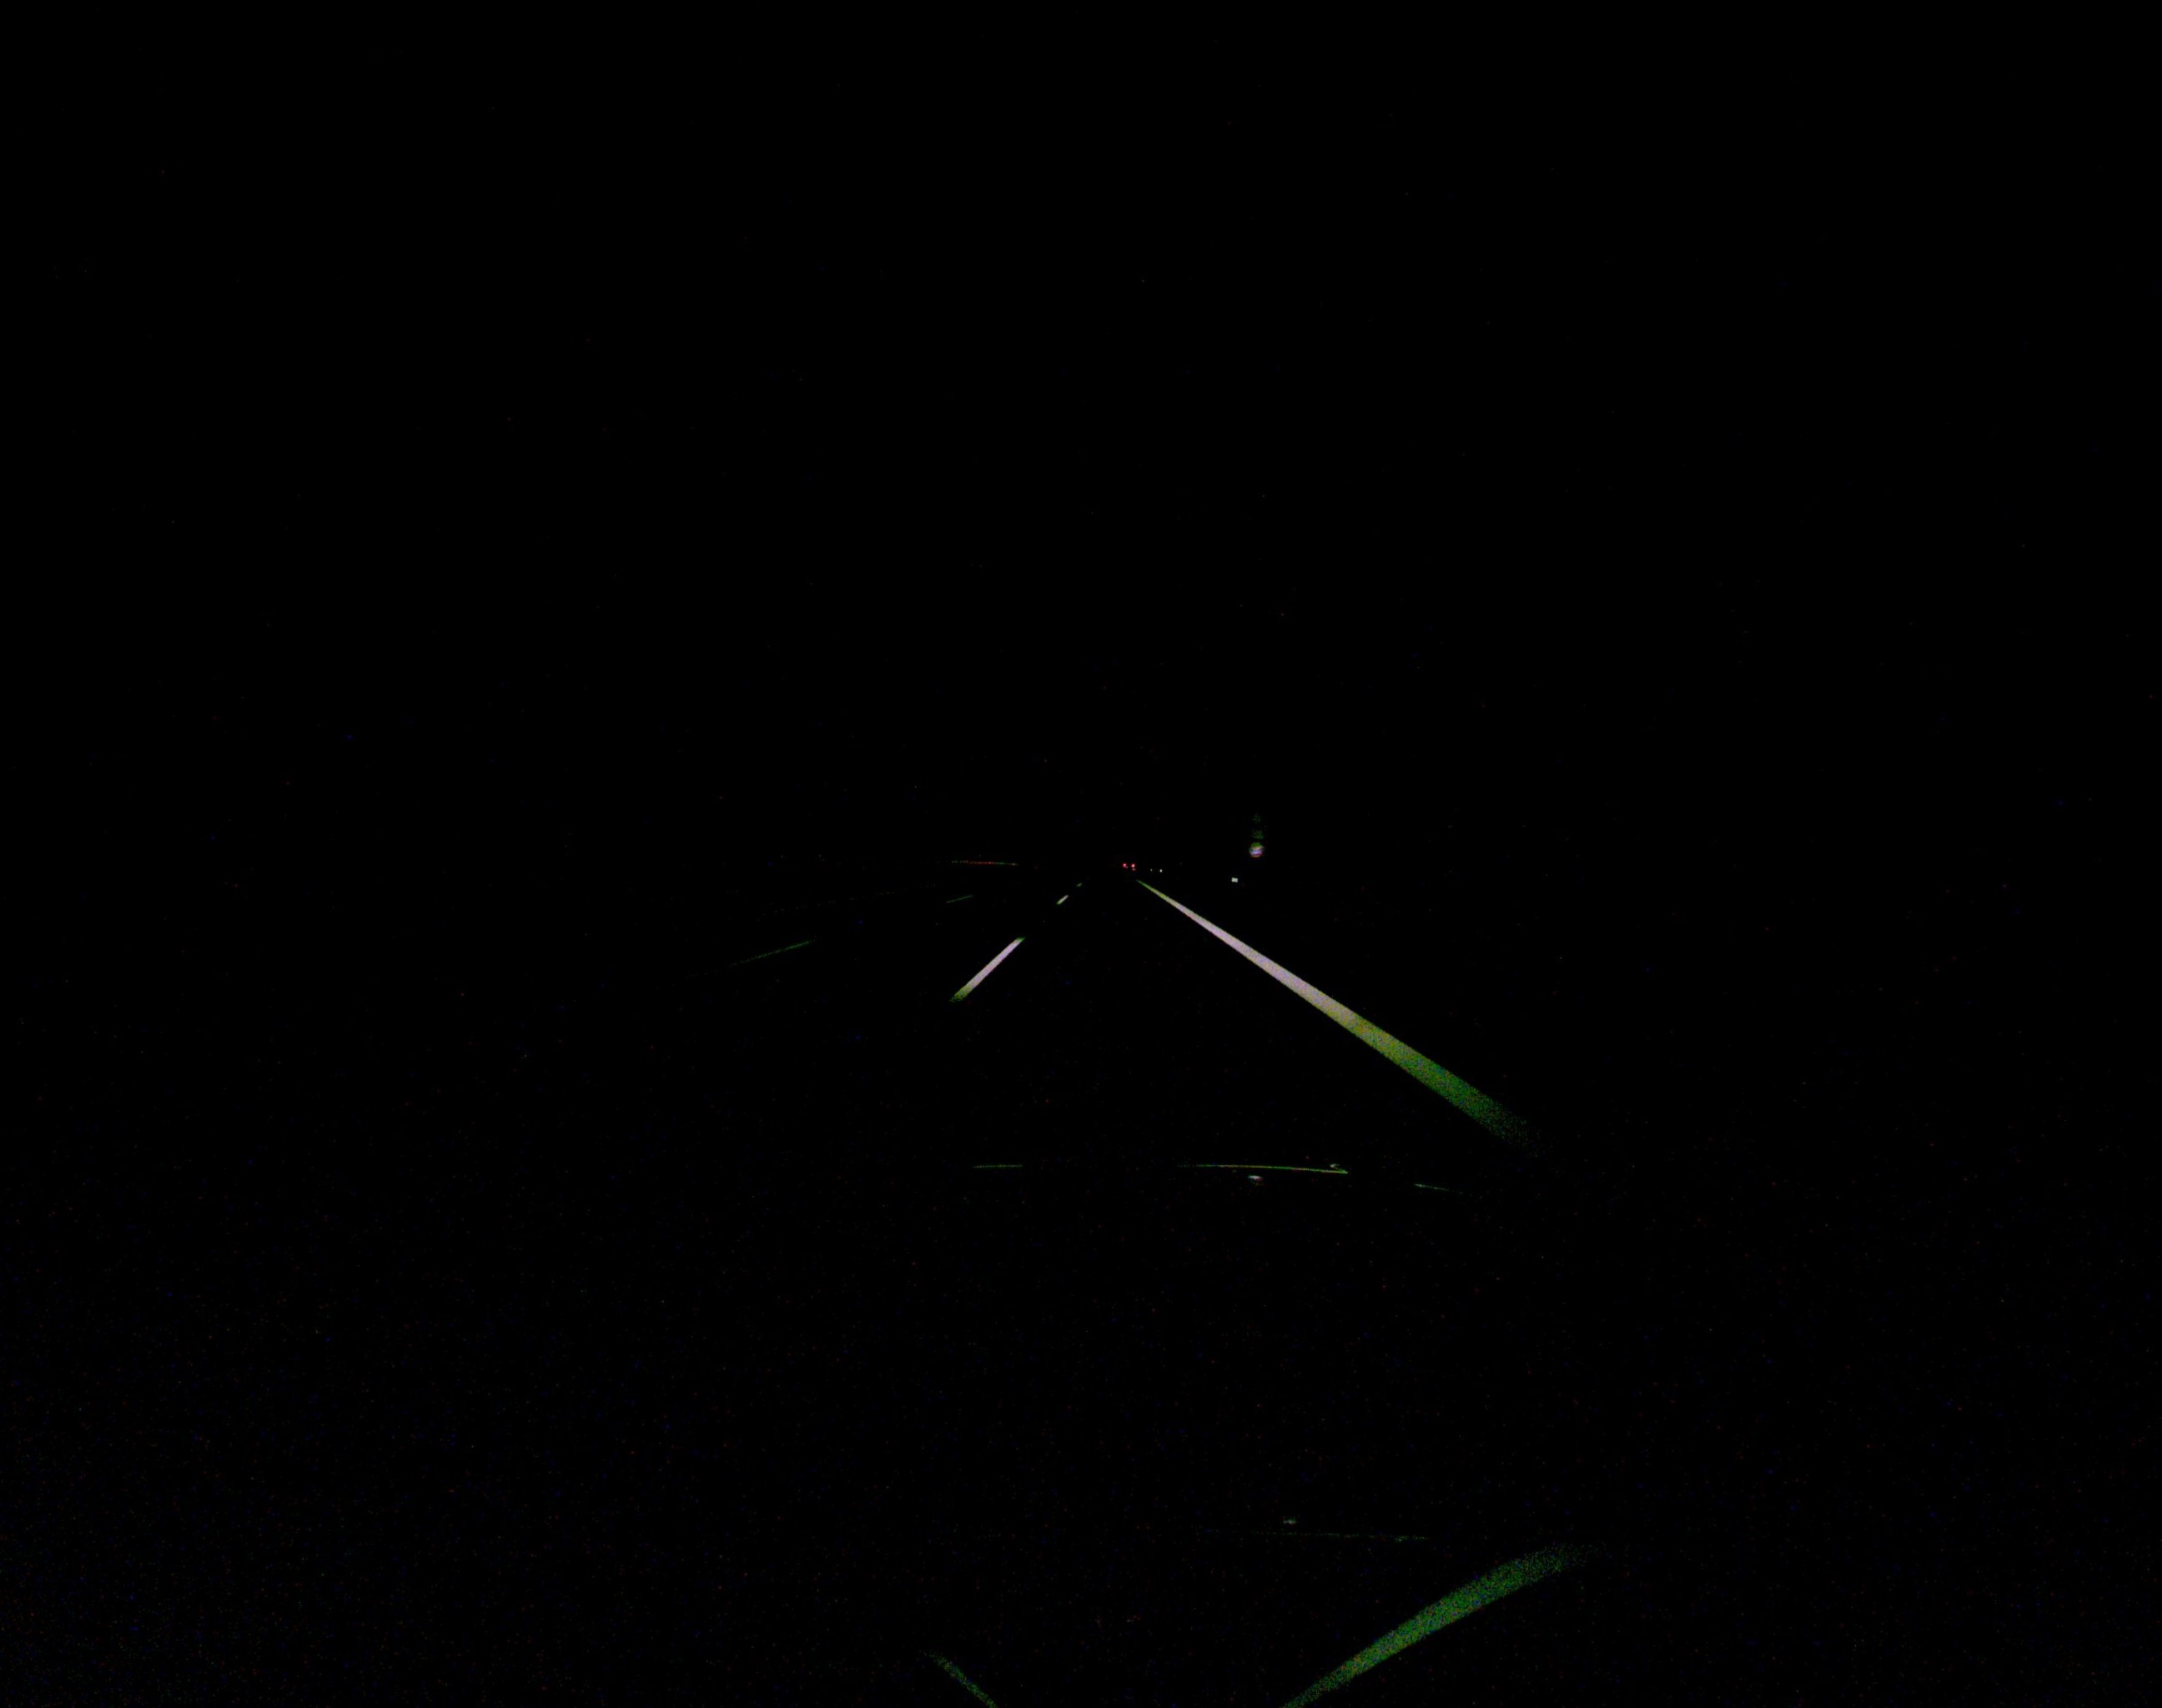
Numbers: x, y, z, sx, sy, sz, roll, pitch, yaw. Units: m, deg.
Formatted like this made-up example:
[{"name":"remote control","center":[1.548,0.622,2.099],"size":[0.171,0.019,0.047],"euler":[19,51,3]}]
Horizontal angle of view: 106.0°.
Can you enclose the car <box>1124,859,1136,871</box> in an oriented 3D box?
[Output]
[{"name":"car","center":[10.293,2.304,171.869],"size":[2.516,2.553,6.057],"euler":[-1,0,4]}]
